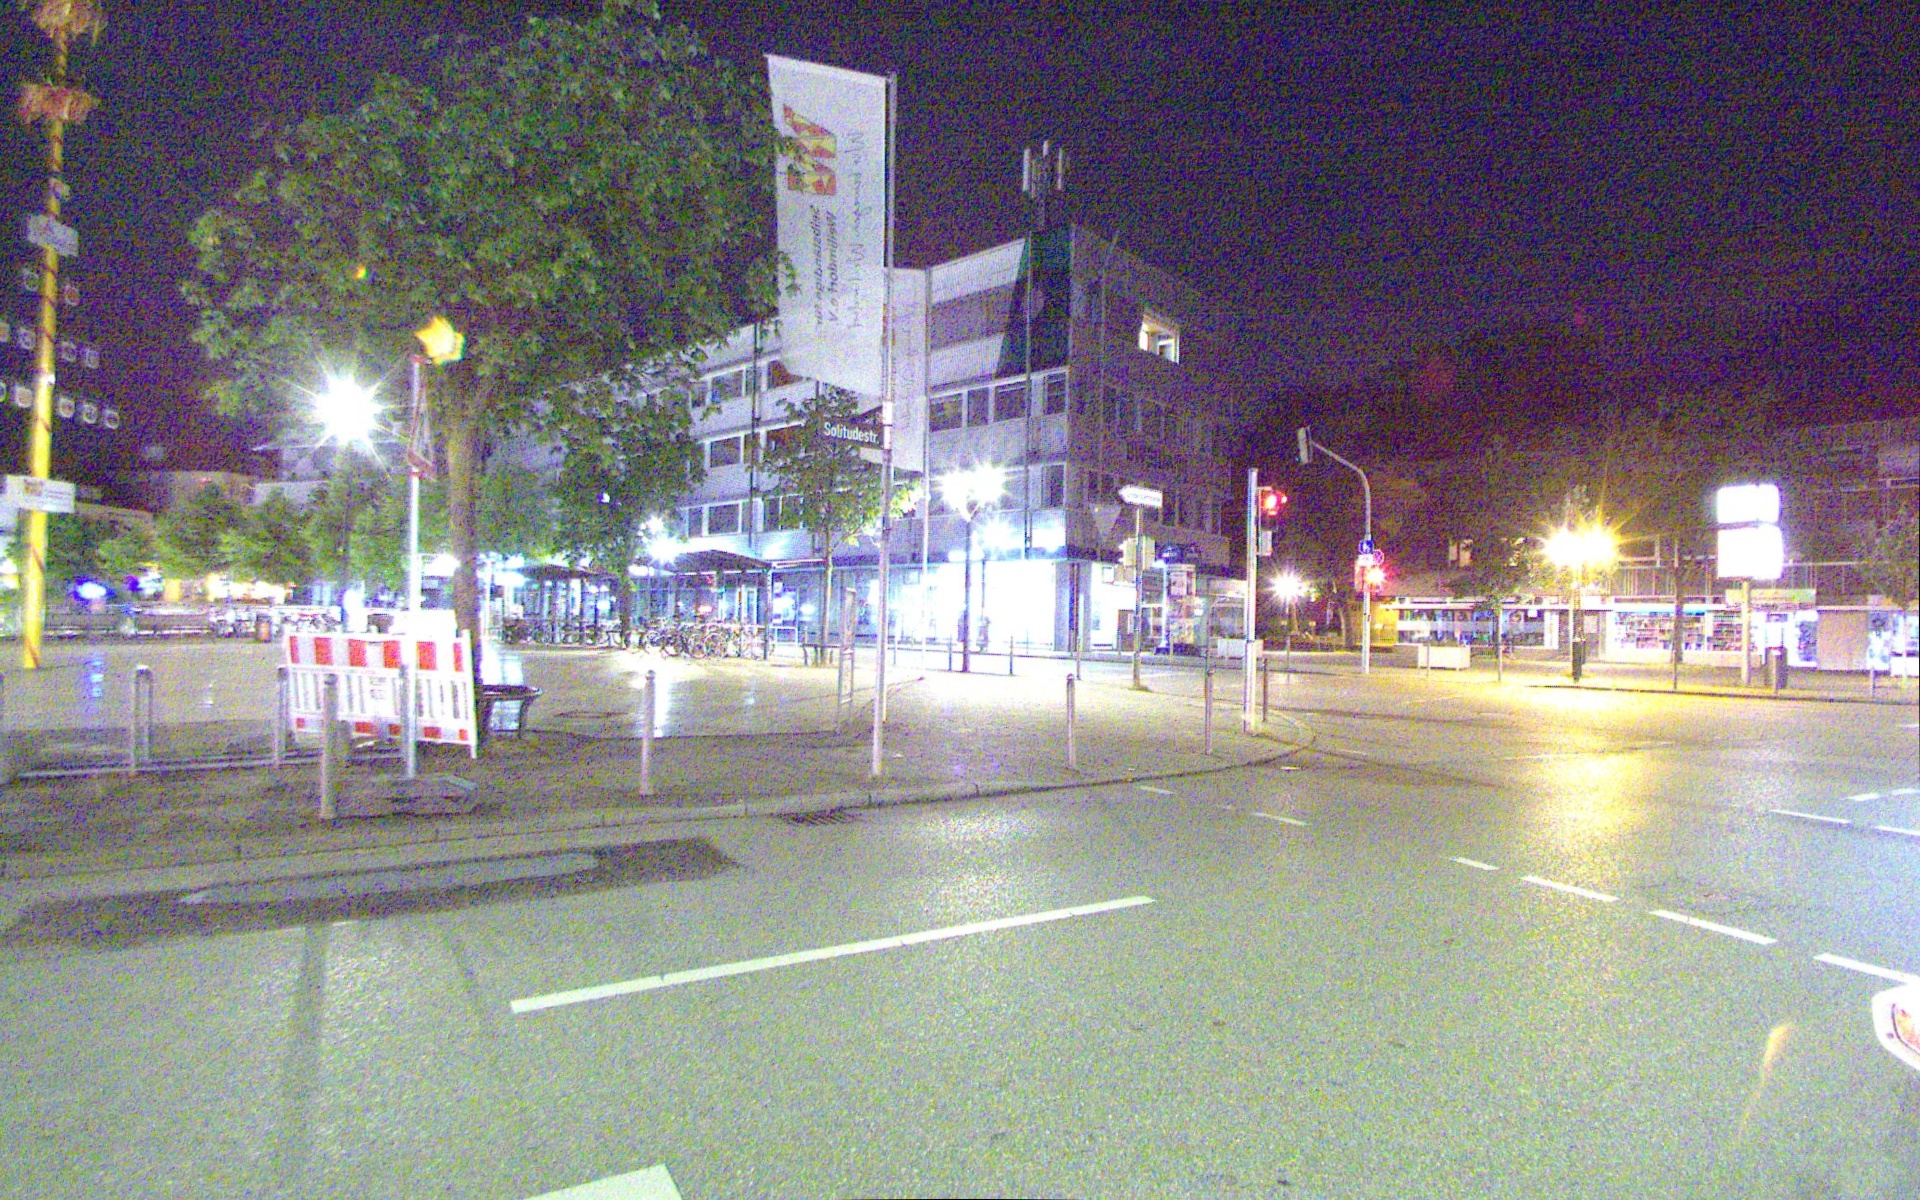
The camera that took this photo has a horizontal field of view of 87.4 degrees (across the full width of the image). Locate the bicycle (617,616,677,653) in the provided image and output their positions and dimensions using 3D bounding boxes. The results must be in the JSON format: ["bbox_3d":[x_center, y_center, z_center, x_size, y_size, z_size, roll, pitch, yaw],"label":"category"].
[{"bbox_3d":[-8.531,0.946,27.421,0.473,0.970,1.525,2,0,44],"label":"bicycle"}]

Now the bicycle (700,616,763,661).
[{"bbox_3d":[-5.651,0.952,24.923,0.440,1.068,1.525,2,0,43],"label":"bicycle"}]

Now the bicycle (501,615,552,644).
[{"bbox_3d":[-14.833,1.002,34.402,0.473,0.970,1.525,2,0,44],"label":"bicycle"}]

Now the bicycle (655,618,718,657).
[{"bbox_3d":[-7.108,0.974,26.141,0.473,0.970,1.525,2,0,44],"label":"bicycle"}]

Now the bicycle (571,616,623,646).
[{"bbox_3d":[-11.956,1.020,33.109,0.473,0.970,1.525,2,0,44],"label":"bicycle"}]

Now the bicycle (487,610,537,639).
[{"bbox_3d":[-15.550,0.848,34.881,0.473,0.970,1.525,2,0,44],"label":"bicycle"}]

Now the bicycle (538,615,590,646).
[{"bbox_3d":[-13.072,1.009,33.171,0.473,0.970,1.525,2,0,44],"label":"bicycle"}]

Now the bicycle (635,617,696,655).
[{"bbox_3d":[-7.851,0.964,26.821,0.473,0.970,1.525,2,0,44],"label":"bicycle"}]

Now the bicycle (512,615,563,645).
[{"bbox_3d":[-14.184,0.993,33.736,0.473,0.970,1.525,2,0,44],"label":"bicycle"}]

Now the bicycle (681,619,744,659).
[{"bbox_3d":[-6.292,0.991,25.584,0.440,0.970,1.525,2,0,43],"label":"bicycle"}]
